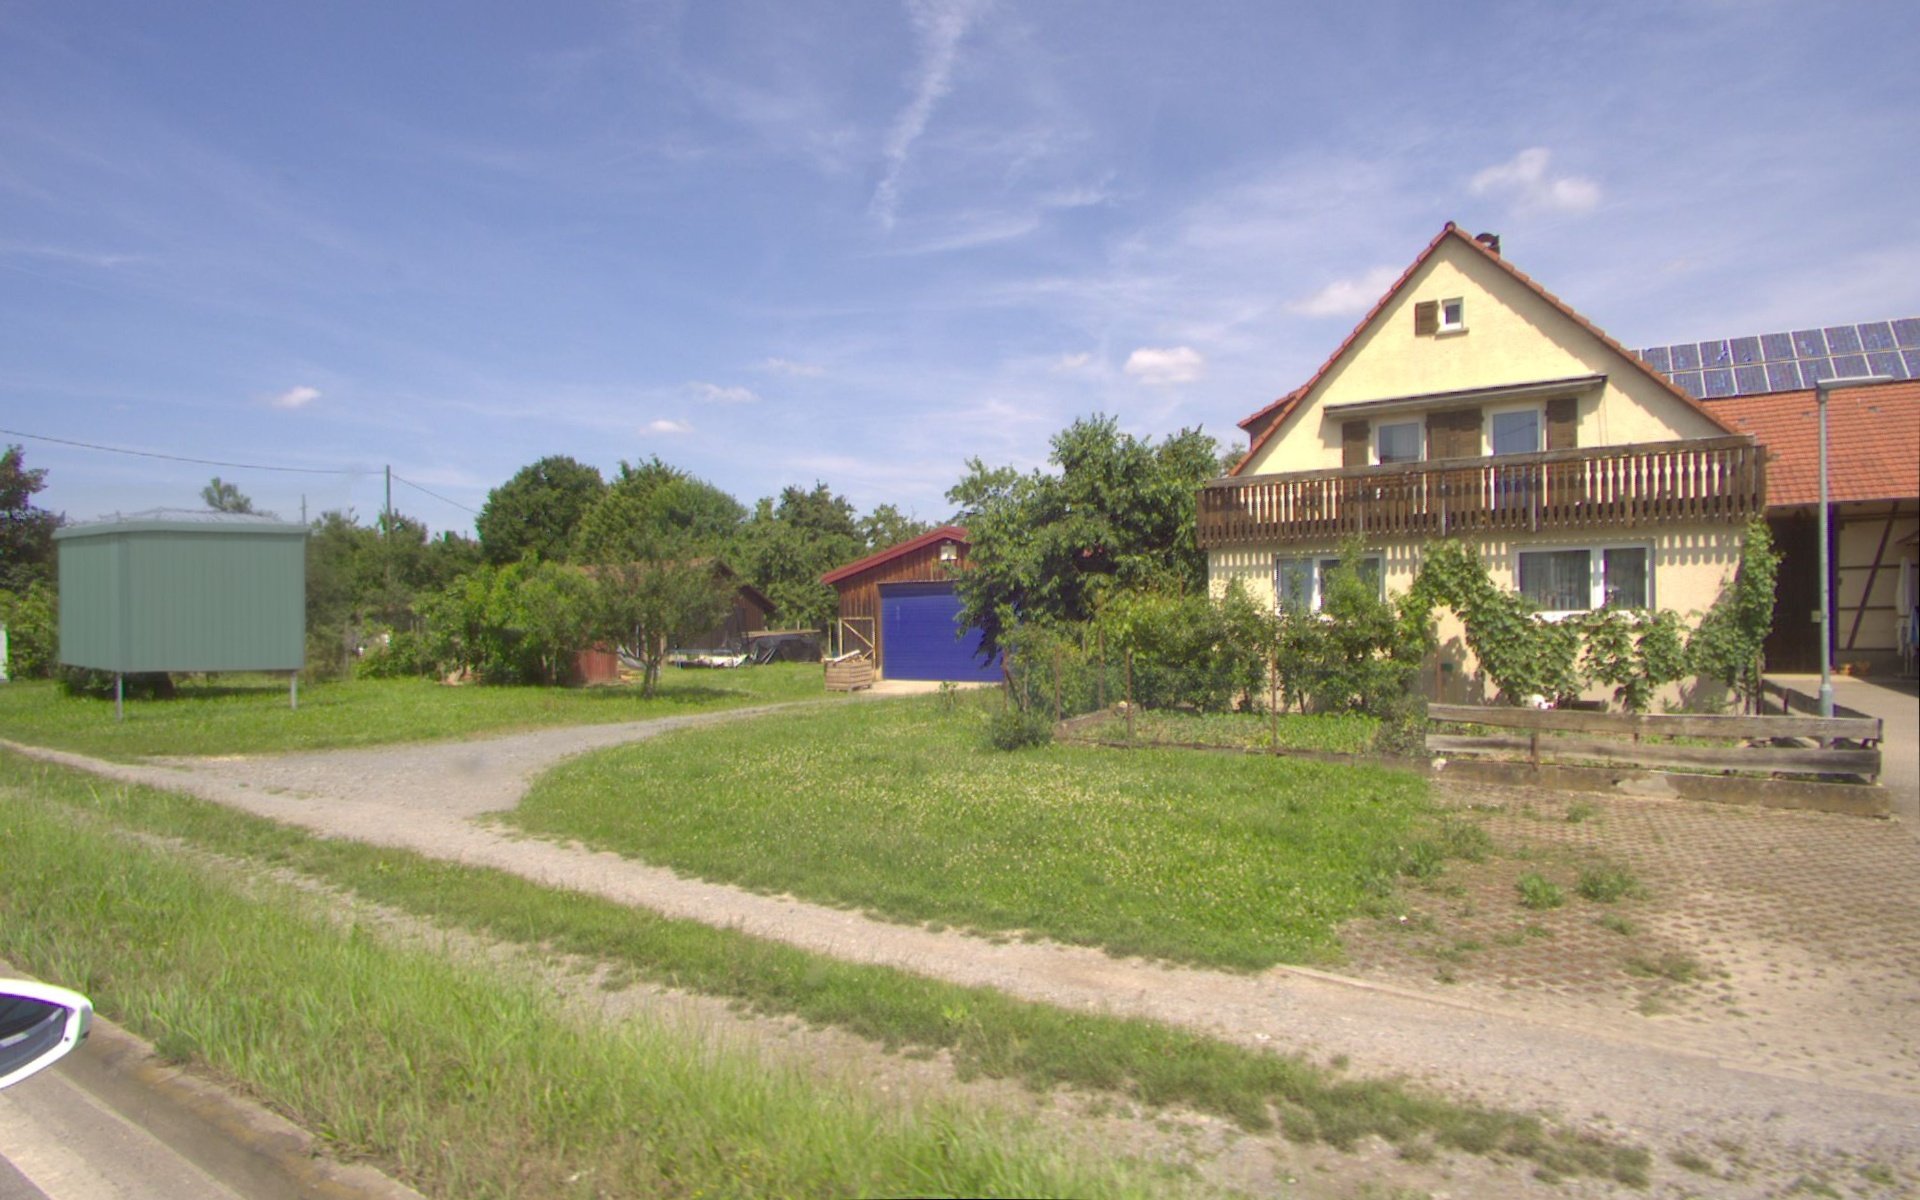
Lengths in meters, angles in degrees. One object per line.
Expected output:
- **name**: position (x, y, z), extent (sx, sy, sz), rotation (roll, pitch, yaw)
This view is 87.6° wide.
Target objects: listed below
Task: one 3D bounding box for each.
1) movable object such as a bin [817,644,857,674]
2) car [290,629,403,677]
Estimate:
- **movable object such as a bin**: position (-4.357, 2.090, 35.594), extent (1.045, 1.046, 1.040), rotation (0, -1, 19)
- **car**: position (-27.848, 2.383, 45.527), extent (1.977, 2.039, 3.970), rotation (-1, -2, 40)
